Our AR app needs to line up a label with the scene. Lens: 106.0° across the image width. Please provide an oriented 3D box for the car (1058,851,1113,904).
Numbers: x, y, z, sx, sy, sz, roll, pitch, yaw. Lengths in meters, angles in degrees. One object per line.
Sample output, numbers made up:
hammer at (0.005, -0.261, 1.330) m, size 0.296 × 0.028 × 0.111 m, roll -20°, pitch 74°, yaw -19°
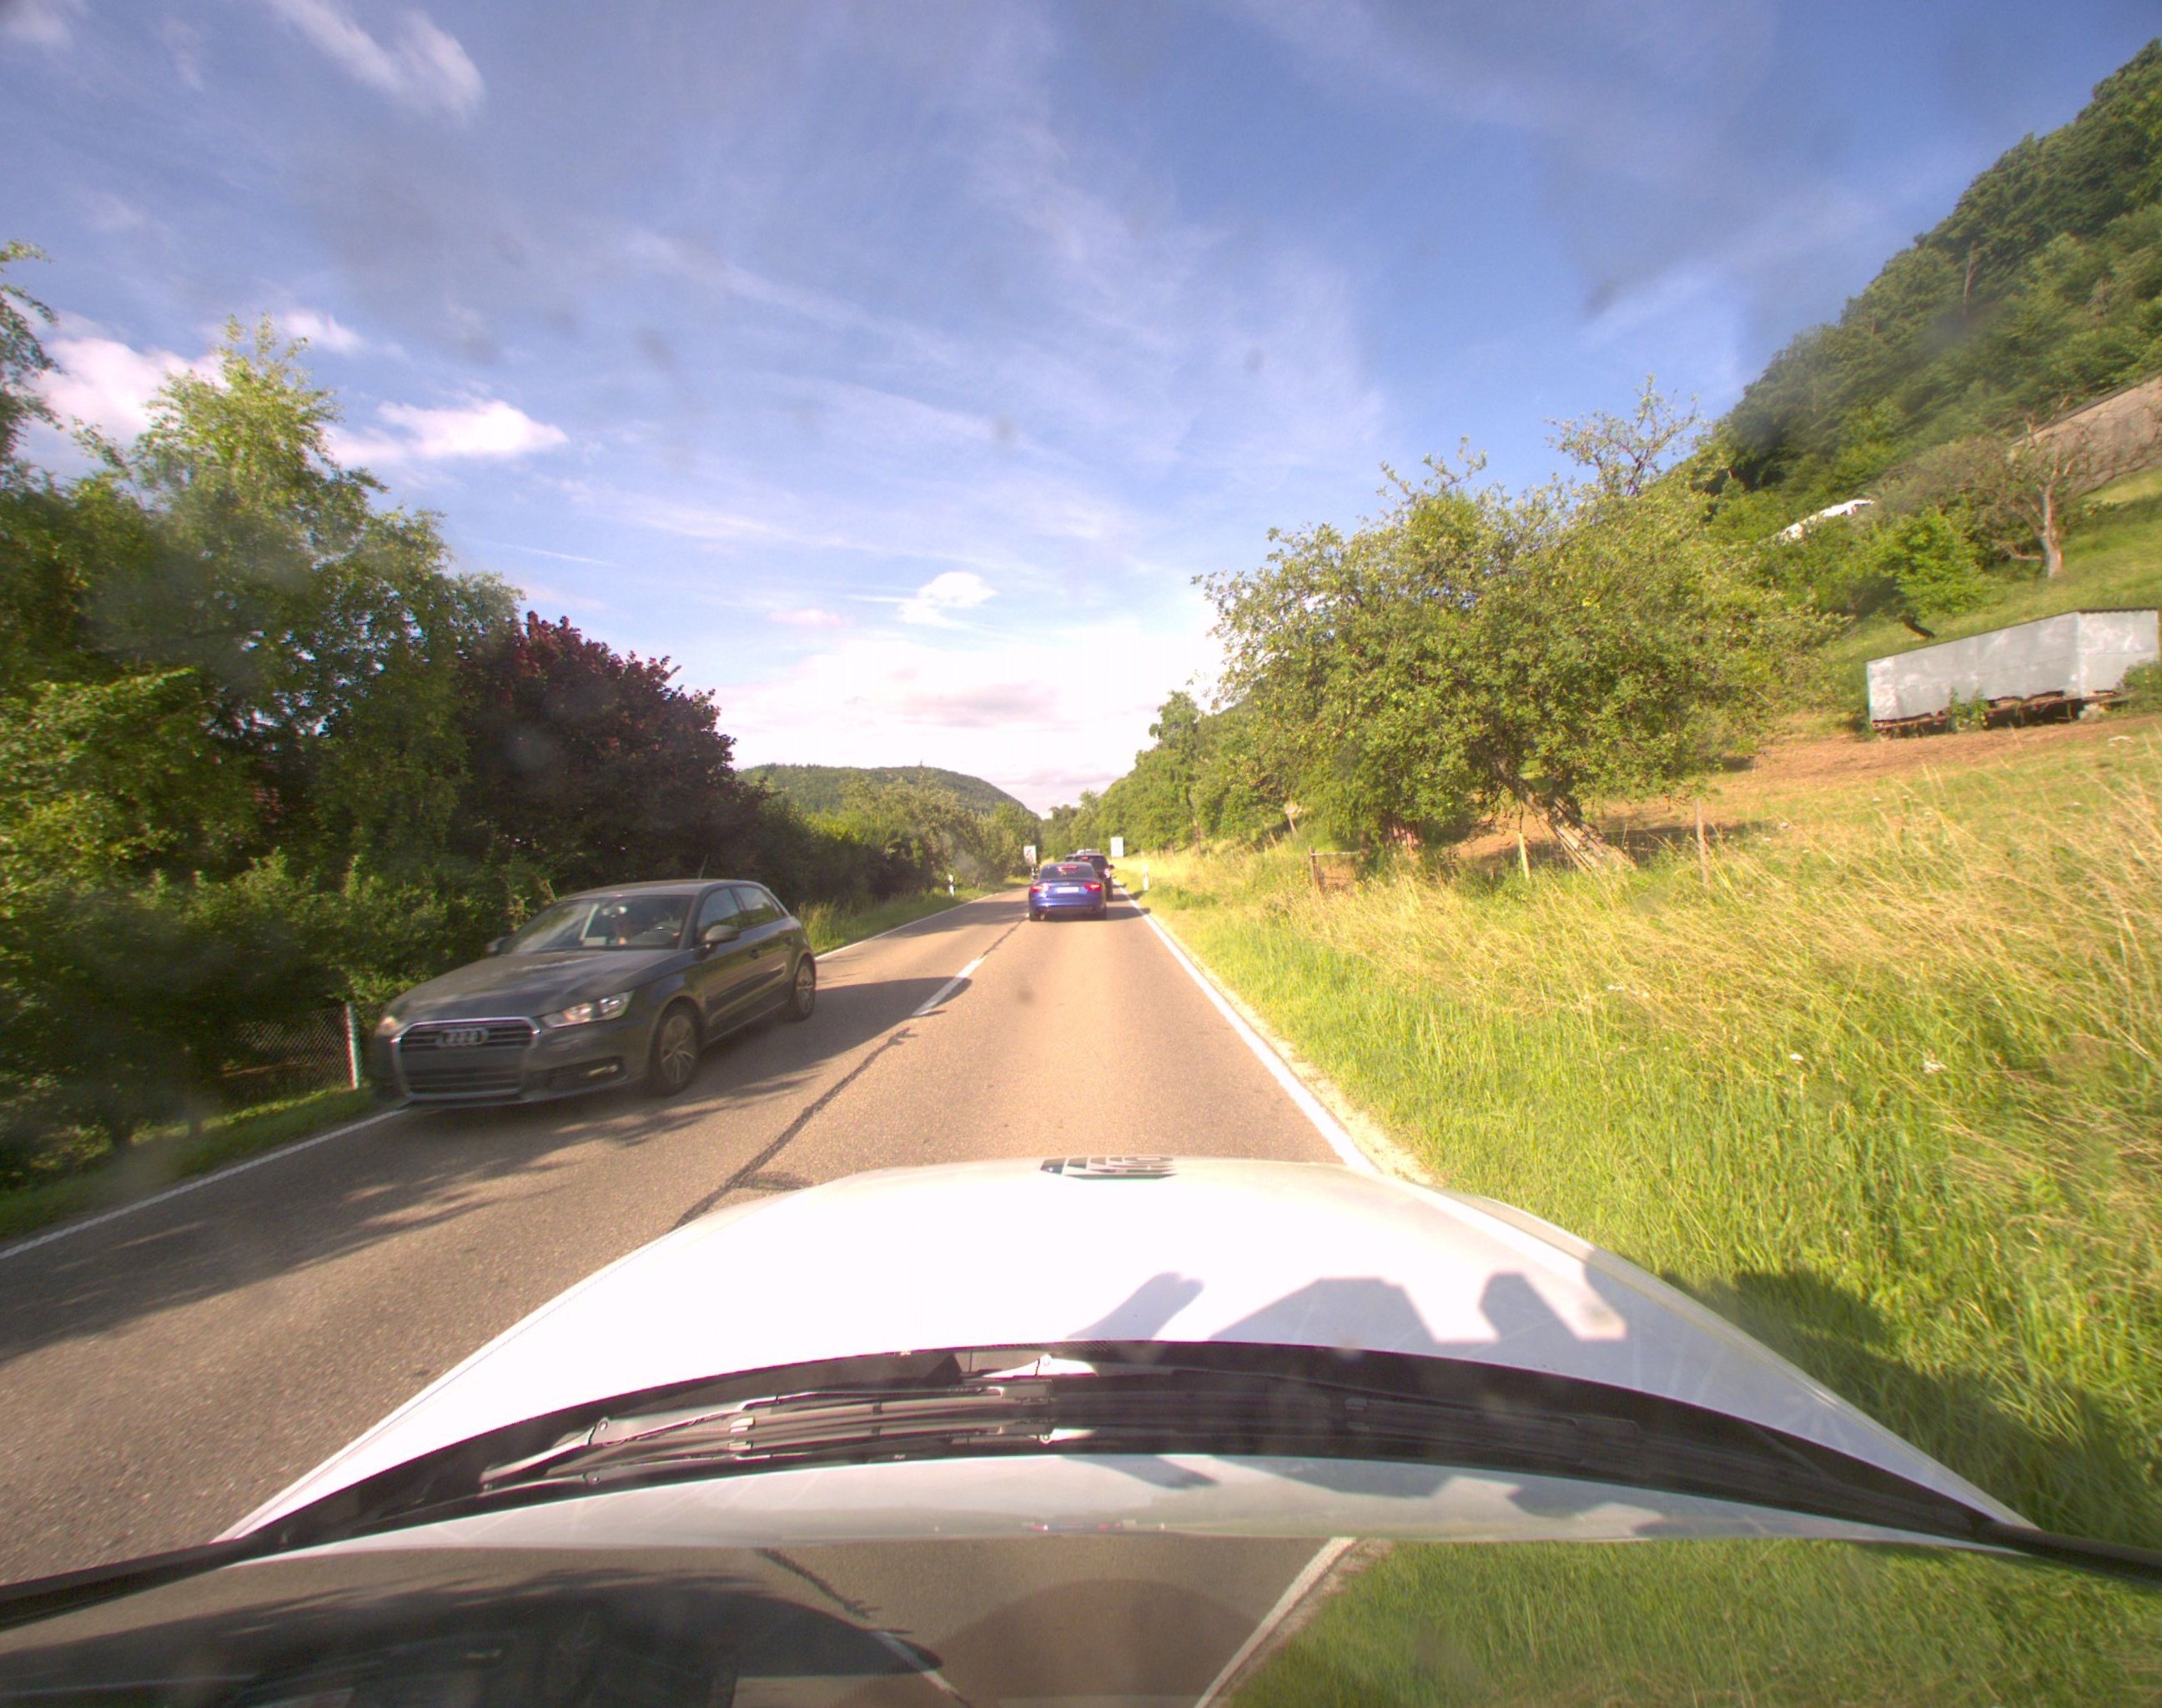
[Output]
car at (0.165, 0.744, 27.770) m, size 1.687 × 1.624 × 3.789 m, roll -2°, pitch 0°, yaw 0°

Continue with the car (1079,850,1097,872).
car at (0.792, 0.779, 91.589) m, size 1.788 × 2.453 × 3.915 m, roll 0°, pitch 0°, yaw -2°

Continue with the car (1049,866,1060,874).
car at (-5.125, 3.210, 159.652) m, size 1.560 × 1.496 × 3.763 m, roll 0°, pitch 0°, yaw -12°

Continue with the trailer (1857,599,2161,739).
trailer at (23.941, -4.623, 21.285) m, size 2.147 × 2.557 × 5.242 m, roll -5°, pitch 3°, yaw -3°

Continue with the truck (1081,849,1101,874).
truck at (0.940, 0.734, 81.158) m, size 1.944 × 2.345 × 5.092 m, roll 0°, pitch 0°, yaw 0°

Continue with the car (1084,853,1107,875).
car at (1.098, 0.760, 63.797) m, size 1.687 × 1.624 × 3.789 m, roll -2°, pitch 0°, yaw 0°

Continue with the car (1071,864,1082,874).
car at (-0.668, 2.375, 128.874) m, size 1.555 × 1.496 × 3.773 m, roll 0°, pitch 0°, yaw -3°

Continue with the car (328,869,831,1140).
car at (-3.463, 0.898, 6.576) m, size 1.622 × 1.415 × 3.789 m, roll -3°, pitch 0°, yaw 0°

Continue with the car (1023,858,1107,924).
car at (-0.320, 0.839, 20.128) m, size 1.799 × 1.382 × 4.215 m, roll -2°, pitch 0°, yaw 1°

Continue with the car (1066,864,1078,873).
car at (-1.599, 2.500, 139.022) m, size 1.558 × 1.496 × 3.767 m, roll 0°, pitch 0°, yaw -8°
